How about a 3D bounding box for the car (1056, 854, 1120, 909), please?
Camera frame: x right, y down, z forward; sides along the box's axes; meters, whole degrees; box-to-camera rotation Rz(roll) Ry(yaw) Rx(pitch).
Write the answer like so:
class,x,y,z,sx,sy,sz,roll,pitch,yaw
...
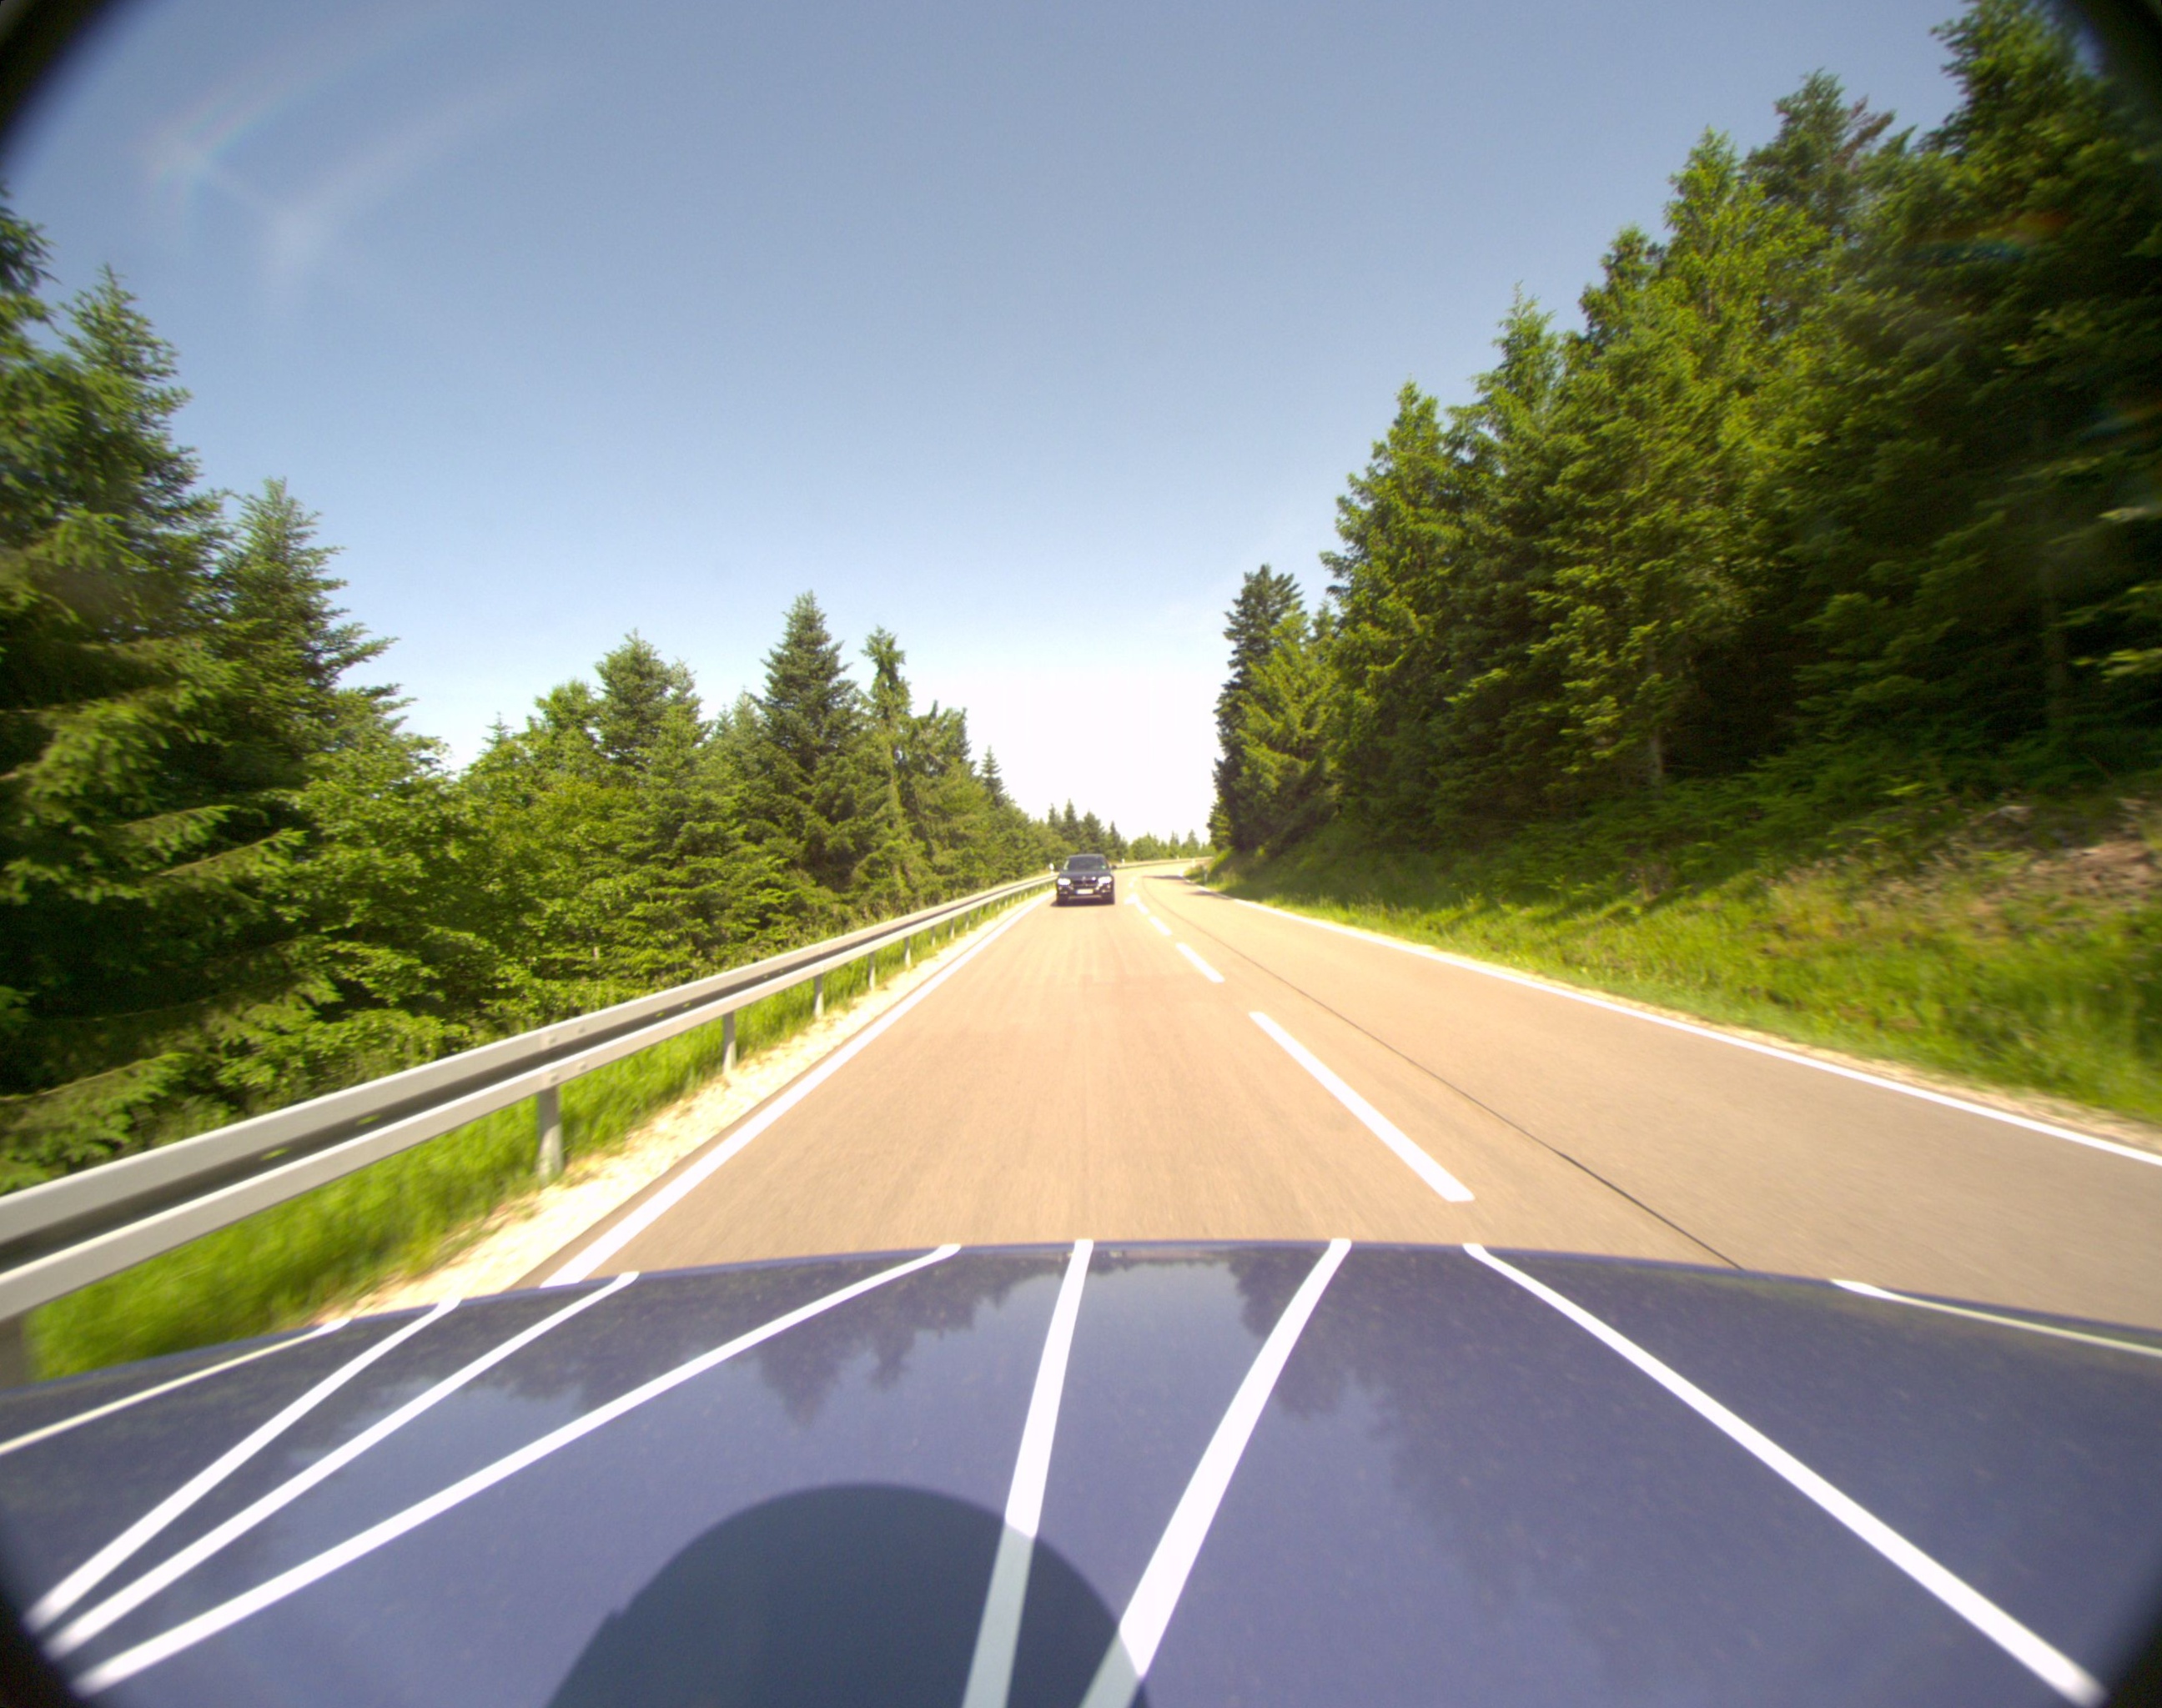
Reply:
class,x,y,z,sx,sy,sz,roll,pitch,yaw
car,0.278,0.891,27.508,1.998,1.676,5.936,-3,0,1
